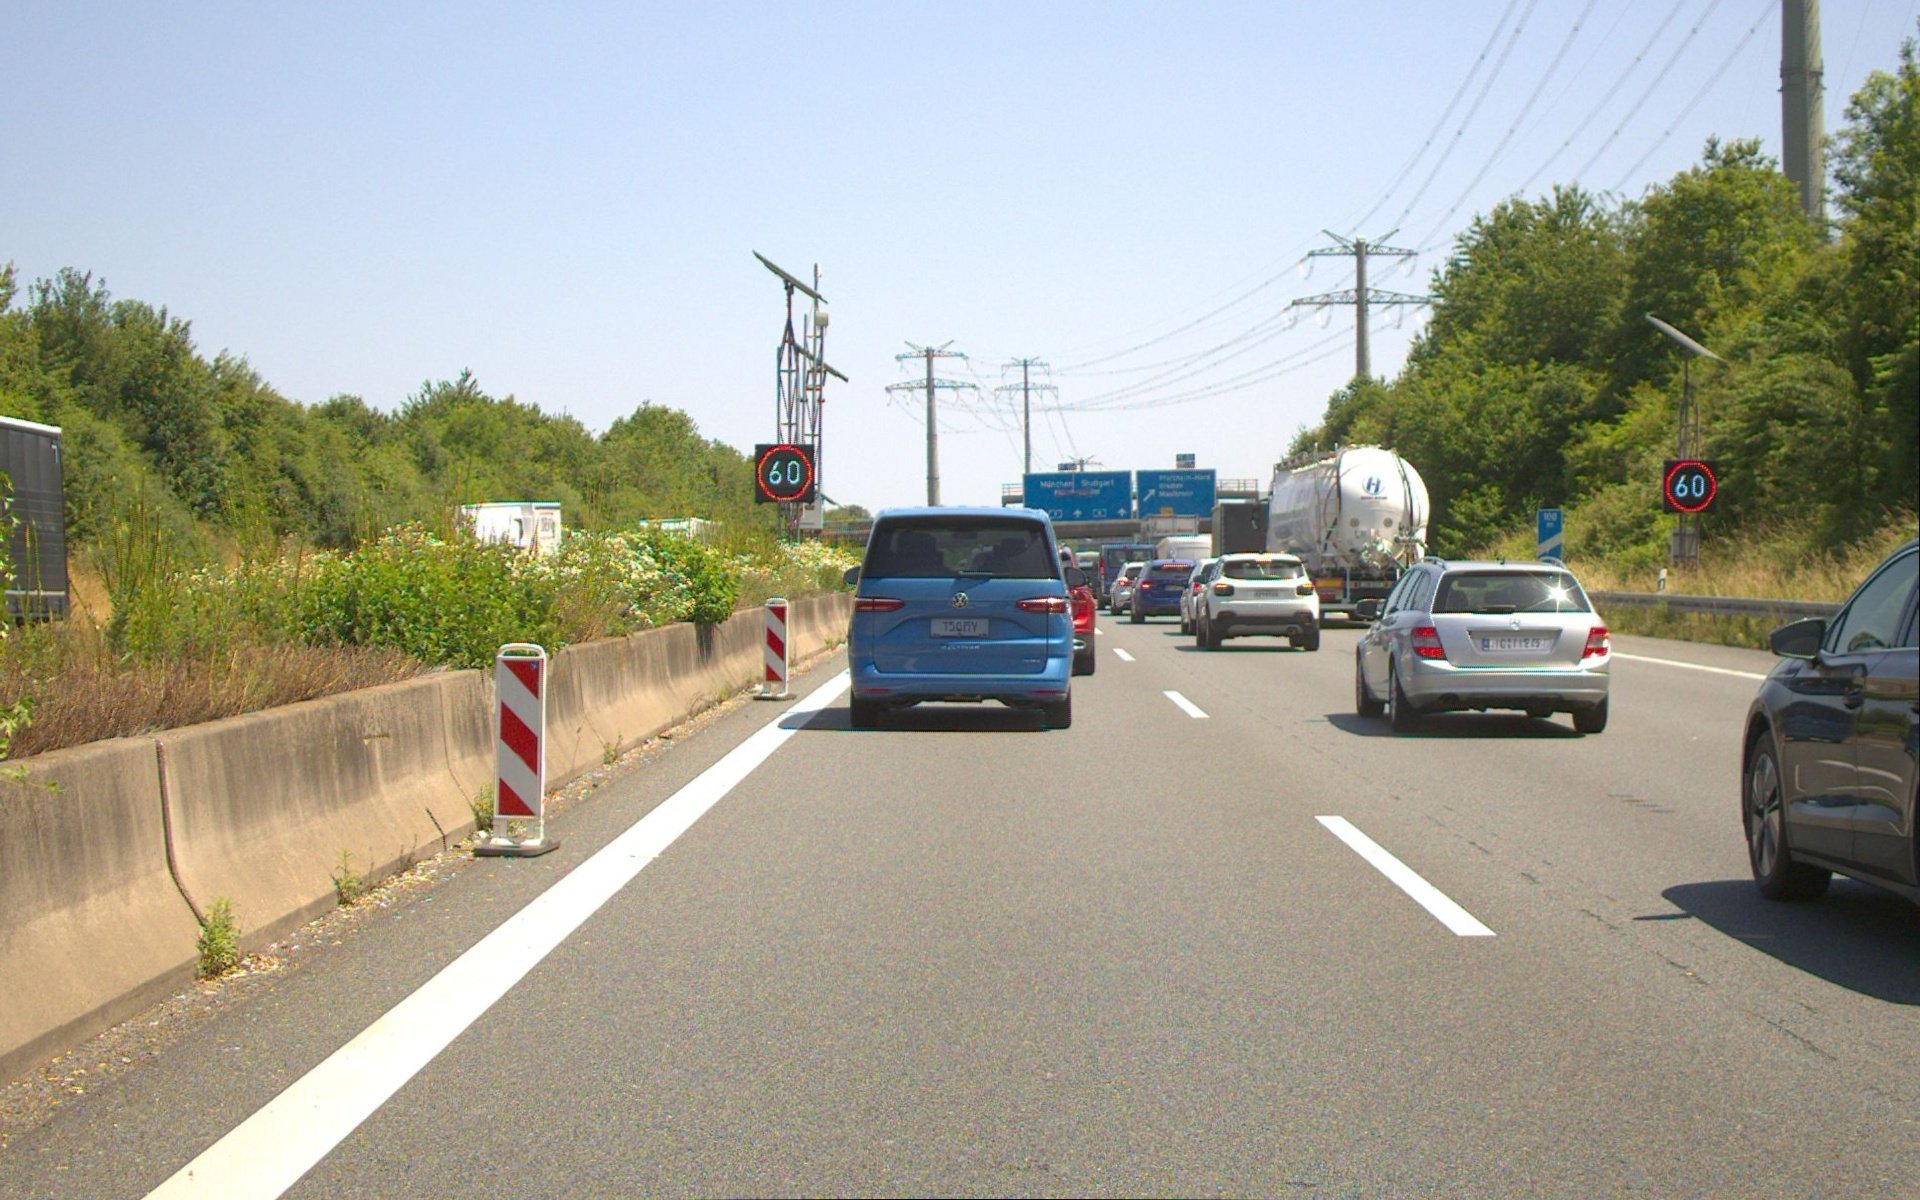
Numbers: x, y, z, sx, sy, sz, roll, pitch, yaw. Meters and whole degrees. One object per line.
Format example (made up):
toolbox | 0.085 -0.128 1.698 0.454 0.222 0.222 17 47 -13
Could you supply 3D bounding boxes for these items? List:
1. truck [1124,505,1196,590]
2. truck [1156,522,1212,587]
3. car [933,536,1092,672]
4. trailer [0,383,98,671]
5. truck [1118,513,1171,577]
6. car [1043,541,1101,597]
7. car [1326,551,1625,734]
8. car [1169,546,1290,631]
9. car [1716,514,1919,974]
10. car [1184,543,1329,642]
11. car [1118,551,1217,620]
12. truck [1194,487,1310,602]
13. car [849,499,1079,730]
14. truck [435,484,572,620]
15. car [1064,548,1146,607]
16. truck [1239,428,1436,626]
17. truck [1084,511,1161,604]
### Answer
truck | 10.393 -2.734 179.739 2.938 4.276 12.552 1 1 0
truck | 9.687 -1.972 148.984 1.993 2.714 5.680 1 1 0
car | 0.619 0.020 43.413 1.908 1.625 4.384 0 1 0
trailer | -15.196 -0.953 47.329 2.753 4.152 14.197 -3 1 0
truck | 12.764 -3.768 238.590 2.938 4.276 12.552 1 1 0
car | 4.125 -1.140 127.295 1.993 2.007 4.000 1 1 0
car | 4.335 0.309 29.564 1.821 1.432 4.384 1 1 -1
car | 5.190 -0.239 66.726 1.908 1.564 4.384 1 1 -1
car | 4.277 0.491 13.035 1.828 1.609 4.431 0 1 0
car | 4.724 -0.138 55.243 1.908 1.503 3.922 1 1 -1
car | 4.740 -0.354 78.888 1.908 1.511 4.384 1 1 -1
truck | 9.488 -1.793 112.898 2.644 3.526 12.552 1 1 0
car | -0.016 0.091 30.520 1.871 1.873 4.384 1 1 -1
truck | -14.020 -1.481 106.238 2.762 3.875 9.030 -3 1 0
car | 3.847 -0.623 91.804 1.908 1.511 4.384 1 1 -1
truck | 8.479 -1.611 79.336 2.644 4.058 16.441 1 1 0
truck | 4.890 -1.297 104.221 1.993 2.714 5.680 1 1 0
